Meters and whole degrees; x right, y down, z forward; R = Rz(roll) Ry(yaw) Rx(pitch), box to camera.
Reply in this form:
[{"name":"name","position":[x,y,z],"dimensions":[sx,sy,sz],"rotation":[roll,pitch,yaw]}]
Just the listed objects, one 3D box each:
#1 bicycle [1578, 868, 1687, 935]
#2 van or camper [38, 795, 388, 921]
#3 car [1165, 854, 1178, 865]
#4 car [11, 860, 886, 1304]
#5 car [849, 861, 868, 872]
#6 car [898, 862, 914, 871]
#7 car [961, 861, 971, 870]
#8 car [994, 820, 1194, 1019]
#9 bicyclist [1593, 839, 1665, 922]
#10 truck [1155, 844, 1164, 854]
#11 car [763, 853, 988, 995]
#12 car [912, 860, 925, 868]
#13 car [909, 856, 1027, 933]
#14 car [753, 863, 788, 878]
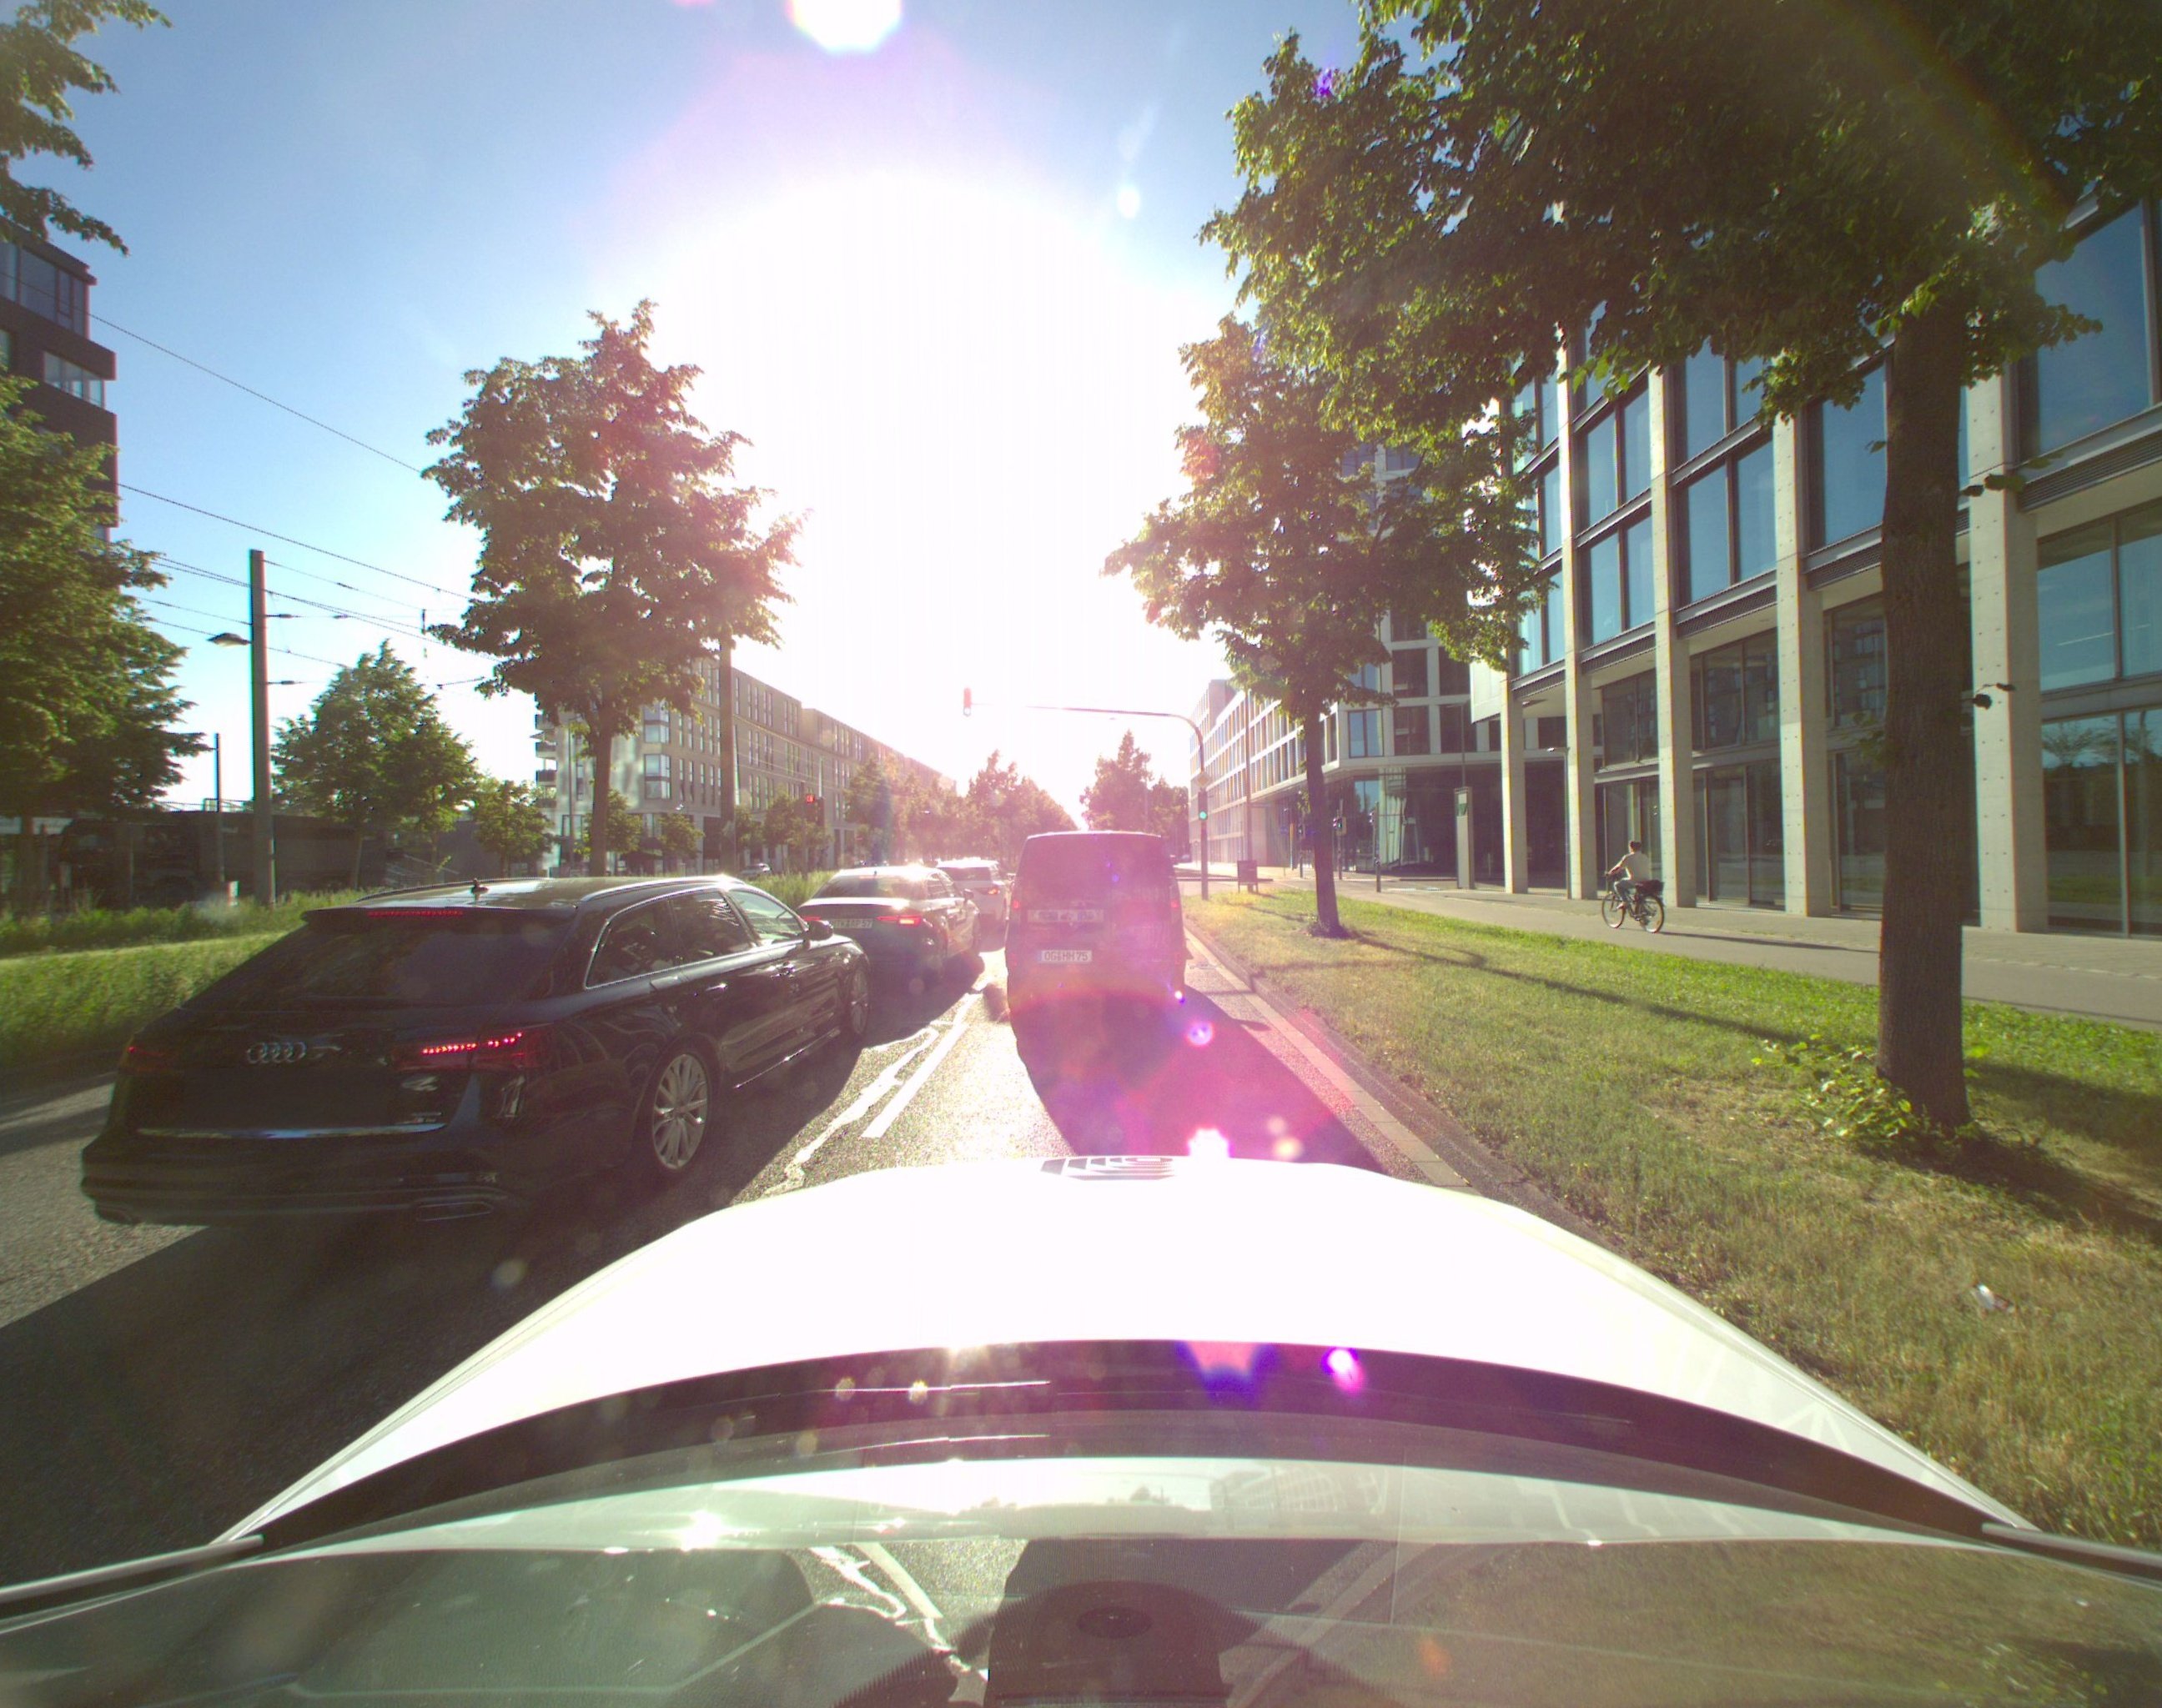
[{"name":"bicycle","position":[10.553,0.869,15.681],"dimensions":[0.739,1.174,1.962],"rotation":[-3,-1,2]},{"name":"van or camper","position":[-33.587,0.160,32.544],"dimensions":[2.743,4.192,10.234],"rotation":[-1,0,2]},{"name":"car","position":[14.212,0.808,127.737],"dimensions":[1.750,1.611,3.906],"rotation":[-1,0,3]},{"name":"car","position":[-2.725,0.804,5.061],"dimensions":[1.801,1.457,4.509],"rotation":[-1,0,2]},{"name":"car","position":[-30.552,1.717,111.824],"dimensions":[1.574,1.342,3.713],"rotation":[-1,0,1]},{"name":"car","position":[-29.552,2.076,137.461],"dimensions":[1.769,1.528,3.807],"rotation":[-1,0,1]},{"name":"car","position":[-28.175,2.886,199.517],"dimensions":[1.723,2.013,3.999],"rotation":[-1,0,-1]},{"name":"car","position":[0.211,0.604,9.545],"dimensions":[1.801,1.794,4.115],"rotation":[-1,0,2]},{"name":"bicyclist","position":[10.535,0.493,15.683],"dimensions":[0.768,1.531,0.850],"rotation":[-2,0,1]},{"name":"truck","position":[19.106,-1.209,198.750],"dimensions":[1.825,2.501,5.934],"rotation":[-1,-1,1]},{"name":"car","position":[-2.494,0.768,11.000],"dimensions":[1.801,1.527,4.115],"rotation":[-1,0,2]},{"name":"car","position":[-29.988,1.801,150.513],"dimensions":[1.574,1.342,3.713],"rotation":[-1,0,1]},{"name":"car","position":[-2.306,0.777,17.689],"dimensions":[1.801,1.434,4.115],"rotation":[-1,0,2]},{"name":"car","position":[-30.760,1.622,80.809],"dimensions":[1.574,1.342,4.473],"rotation":[-1,0,1]}]
